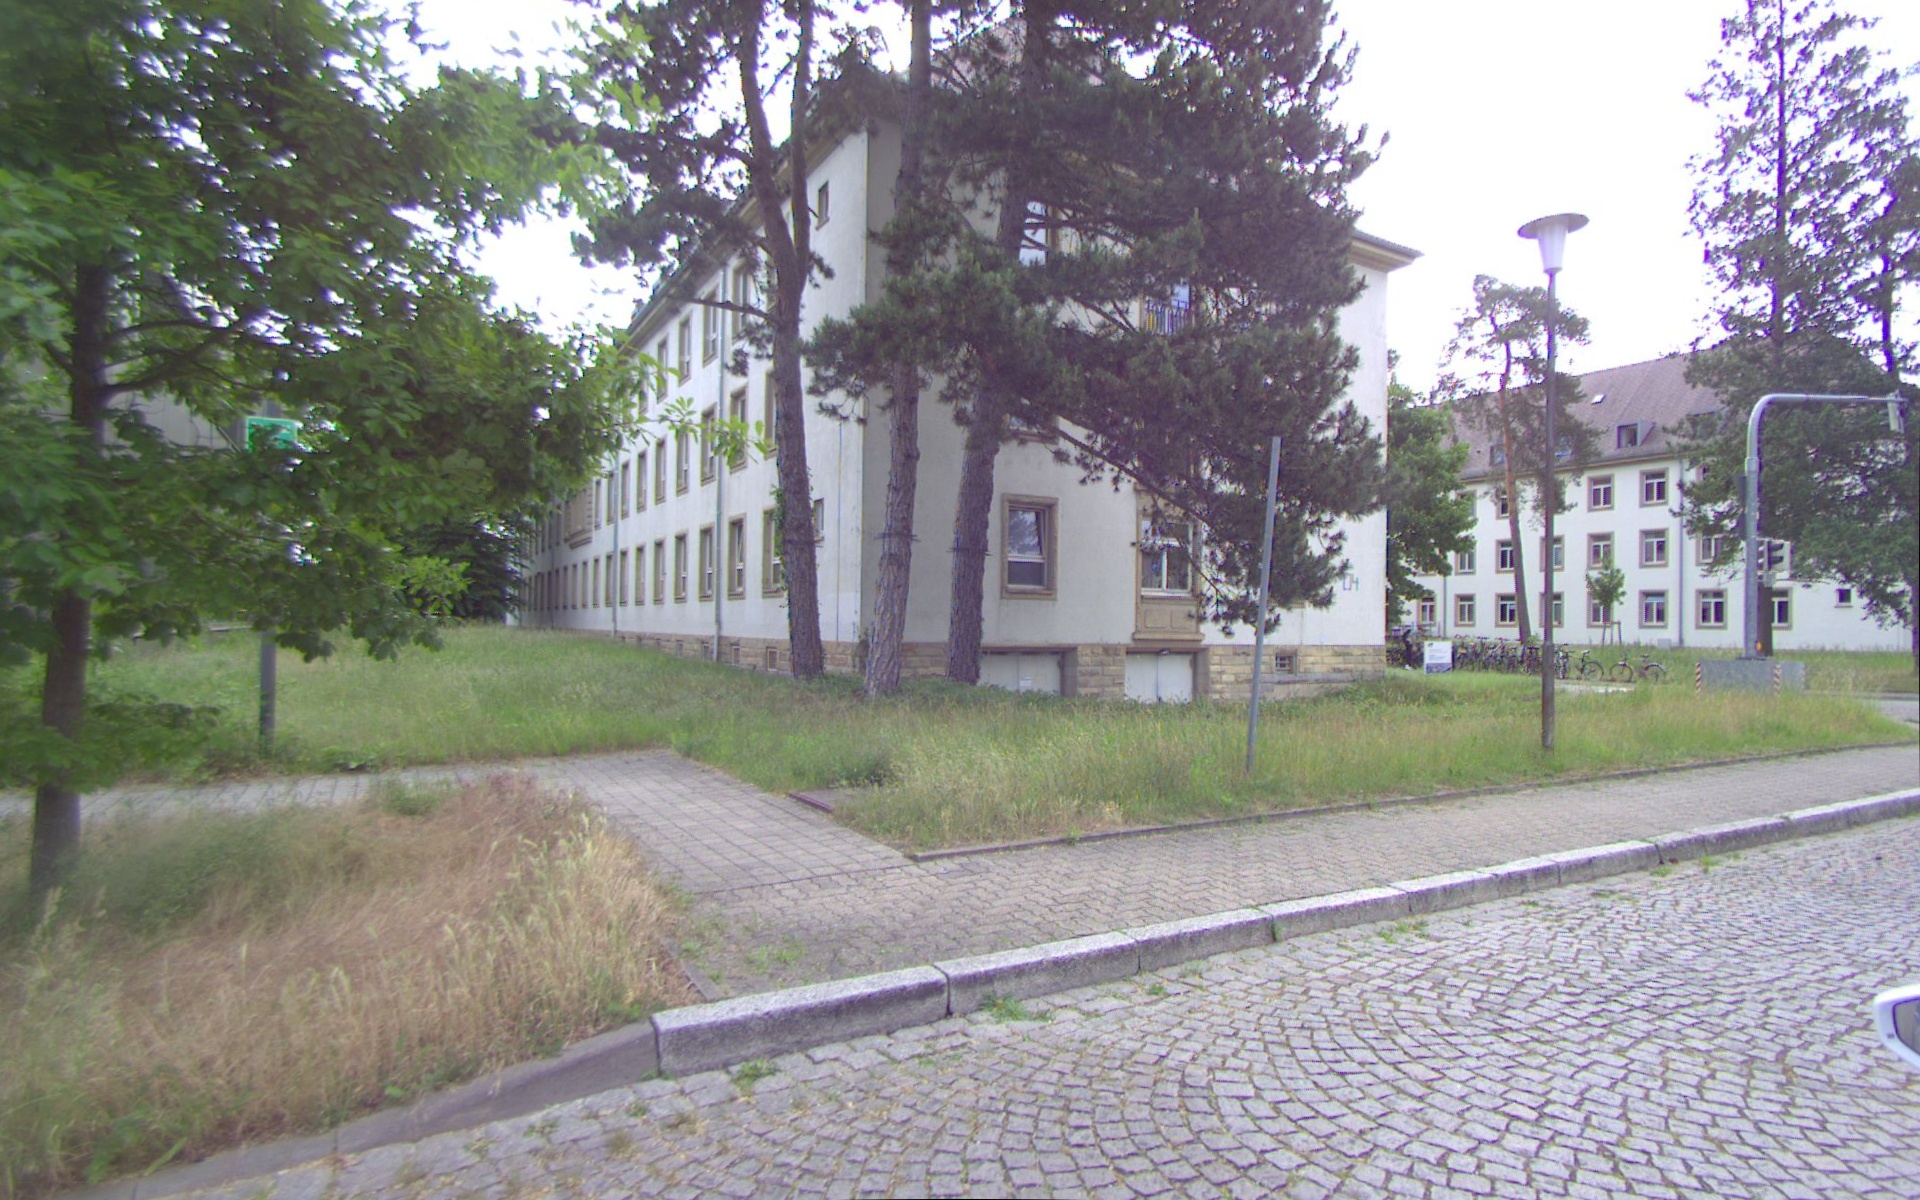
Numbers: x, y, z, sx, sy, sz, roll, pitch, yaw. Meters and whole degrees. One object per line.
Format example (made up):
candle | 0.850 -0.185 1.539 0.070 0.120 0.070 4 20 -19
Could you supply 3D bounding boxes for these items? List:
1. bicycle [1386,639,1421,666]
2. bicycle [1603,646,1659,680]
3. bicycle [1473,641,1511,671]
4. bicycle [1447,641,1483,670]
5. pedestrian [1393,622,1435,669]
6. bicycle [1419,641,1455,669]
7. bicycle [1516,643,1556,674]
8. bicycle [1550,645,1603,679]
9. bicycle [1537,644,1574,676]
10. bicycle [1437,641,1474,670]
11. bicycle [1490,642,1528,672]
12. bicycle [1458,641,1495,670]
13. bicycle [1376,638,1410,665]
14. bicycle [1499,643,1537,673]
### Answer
bicycle | 18.243 2.156 41.280 1.567 1.093 0.512 2 -2 -31
bicycle | 21.839 2.042 32.707 0.510 1.079 1.457 2 -2 -32
bicycle | 20.130 2.125 38.007 1.567 1.093 0.512 2 -2 -31
bicycle | 19.572 2.136 38.922 1.567 1.093 0.512 2 -2 -31
pedestrian | 18.131 1.802 40.127 1.135 1.812 1.064 -1 -1 -2
bicycle | 18.976 2.168 39.940 1.567 1.093 0.512 2 -2 -31
bicycle | 20.932 2.135 36.514 1.565 1.093 0.512 2 -2 -28
bicycle | 20.883 2.092 34.036 0.510 1.093 1.457 2 -2 -32
bicycle | 21.344 2.146 35.973 1.569 1.093 0.511 2 -2 -34
bicycle | 19.373 2.161 39.251 1.567 1.093 0.512 2 -2 -31
bicycle | 20.484 2.124 37.486 1.567 1.093 0.512 2 -2 -31
bicycle | 19.802 2.139 38.534 1.567 1.093 0.512 2 -2 -31
bicycle | 17.985 2.149 41.708 1.567 1.093 0.512 2 -2 -31
bicycle | 20.660 2.128 37.171 1.567 1.093 0.512 2 -2 -31
